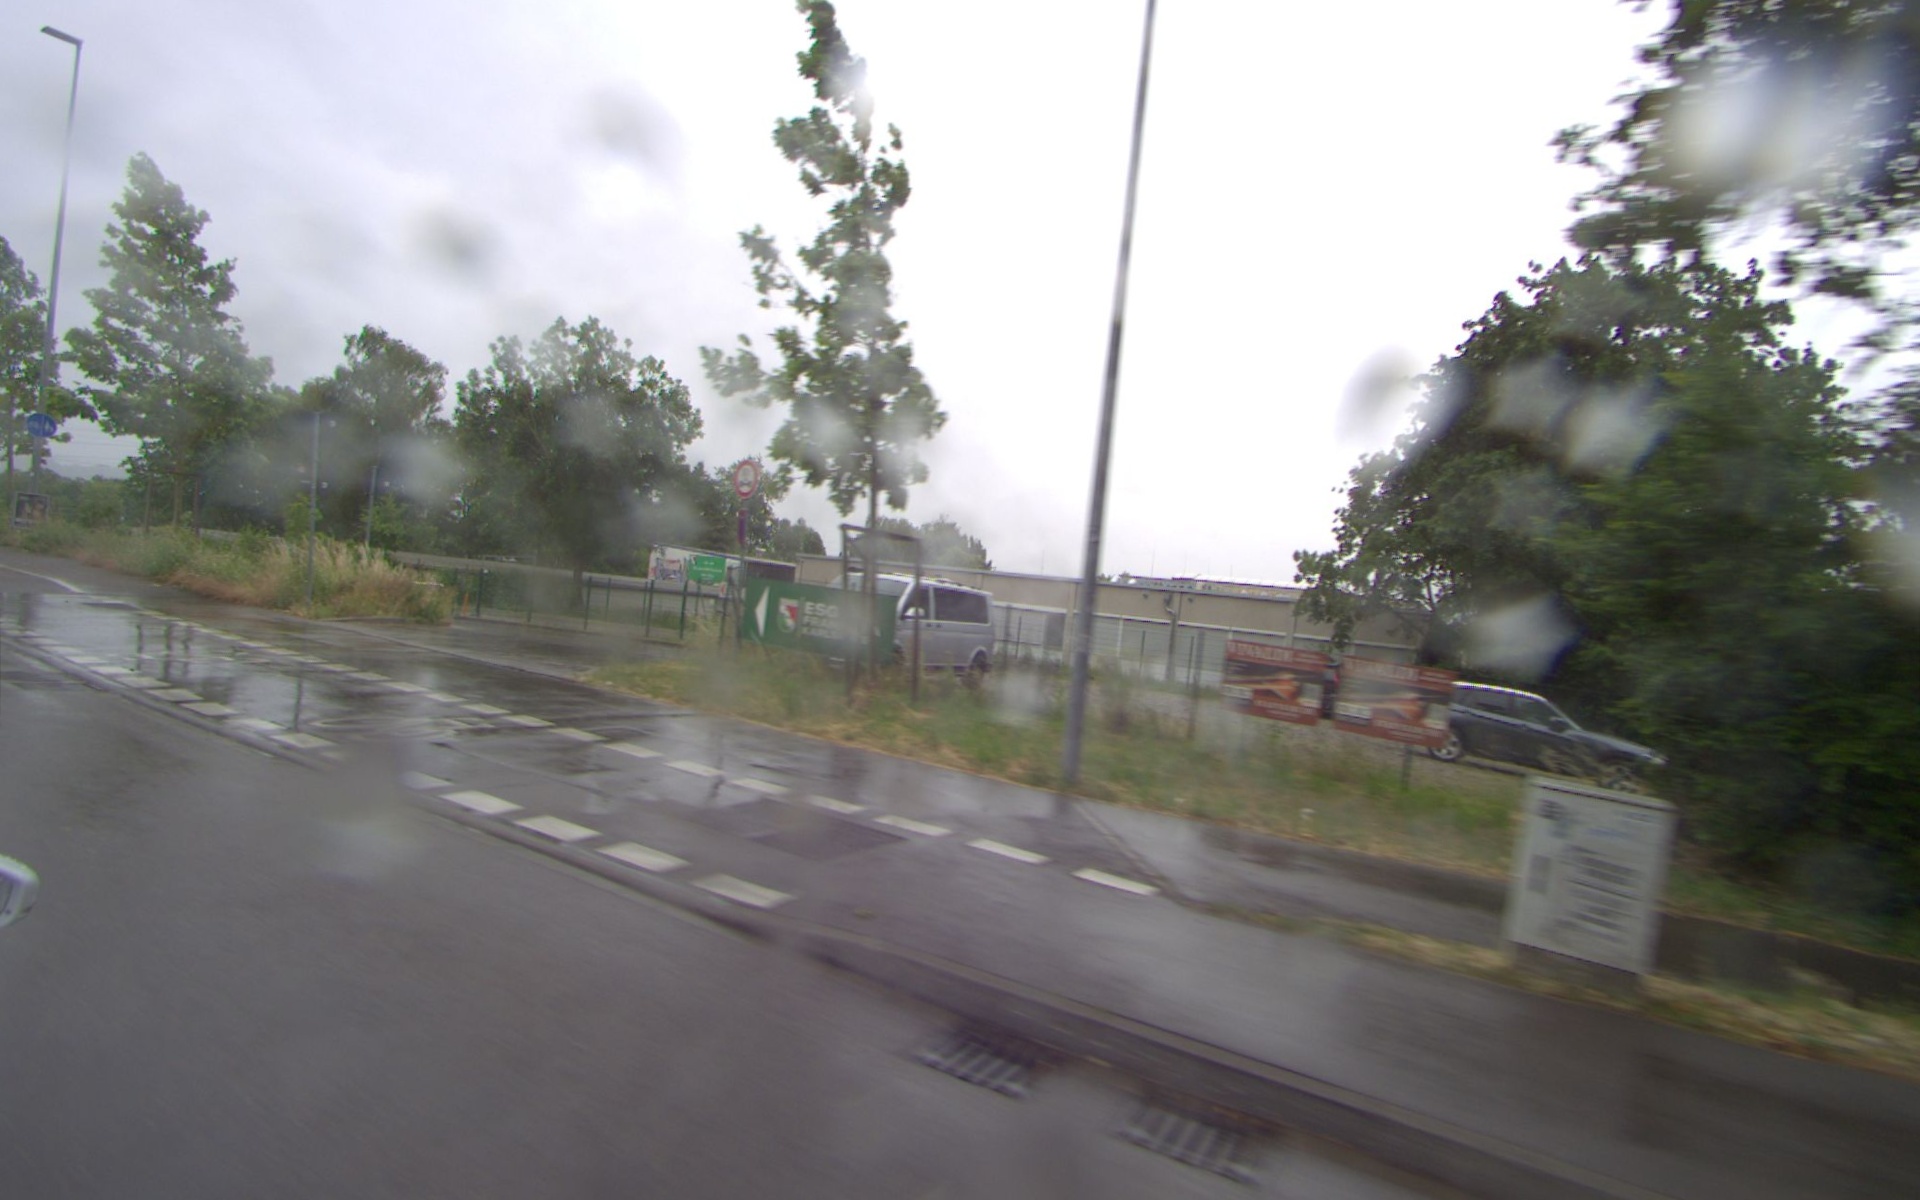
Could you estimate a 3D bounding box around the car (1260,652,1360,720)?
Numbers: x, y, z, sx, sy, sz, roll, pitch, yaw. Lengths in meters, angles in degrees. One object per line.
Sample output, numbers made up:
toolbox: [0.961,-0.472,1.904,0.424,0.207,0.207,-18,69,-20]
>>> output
car: [10.478,2.606,29.936,1.966,1.636,3.997,7,-2,30]

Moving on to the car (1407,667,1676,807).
car: [10.698,2.463,18.727,3.933,1.637,1.997,10,0,32]

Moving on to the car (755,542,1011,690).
car: [-1.156,0.426,18.250,1.965,2.036,5.266,7,-2,27]
